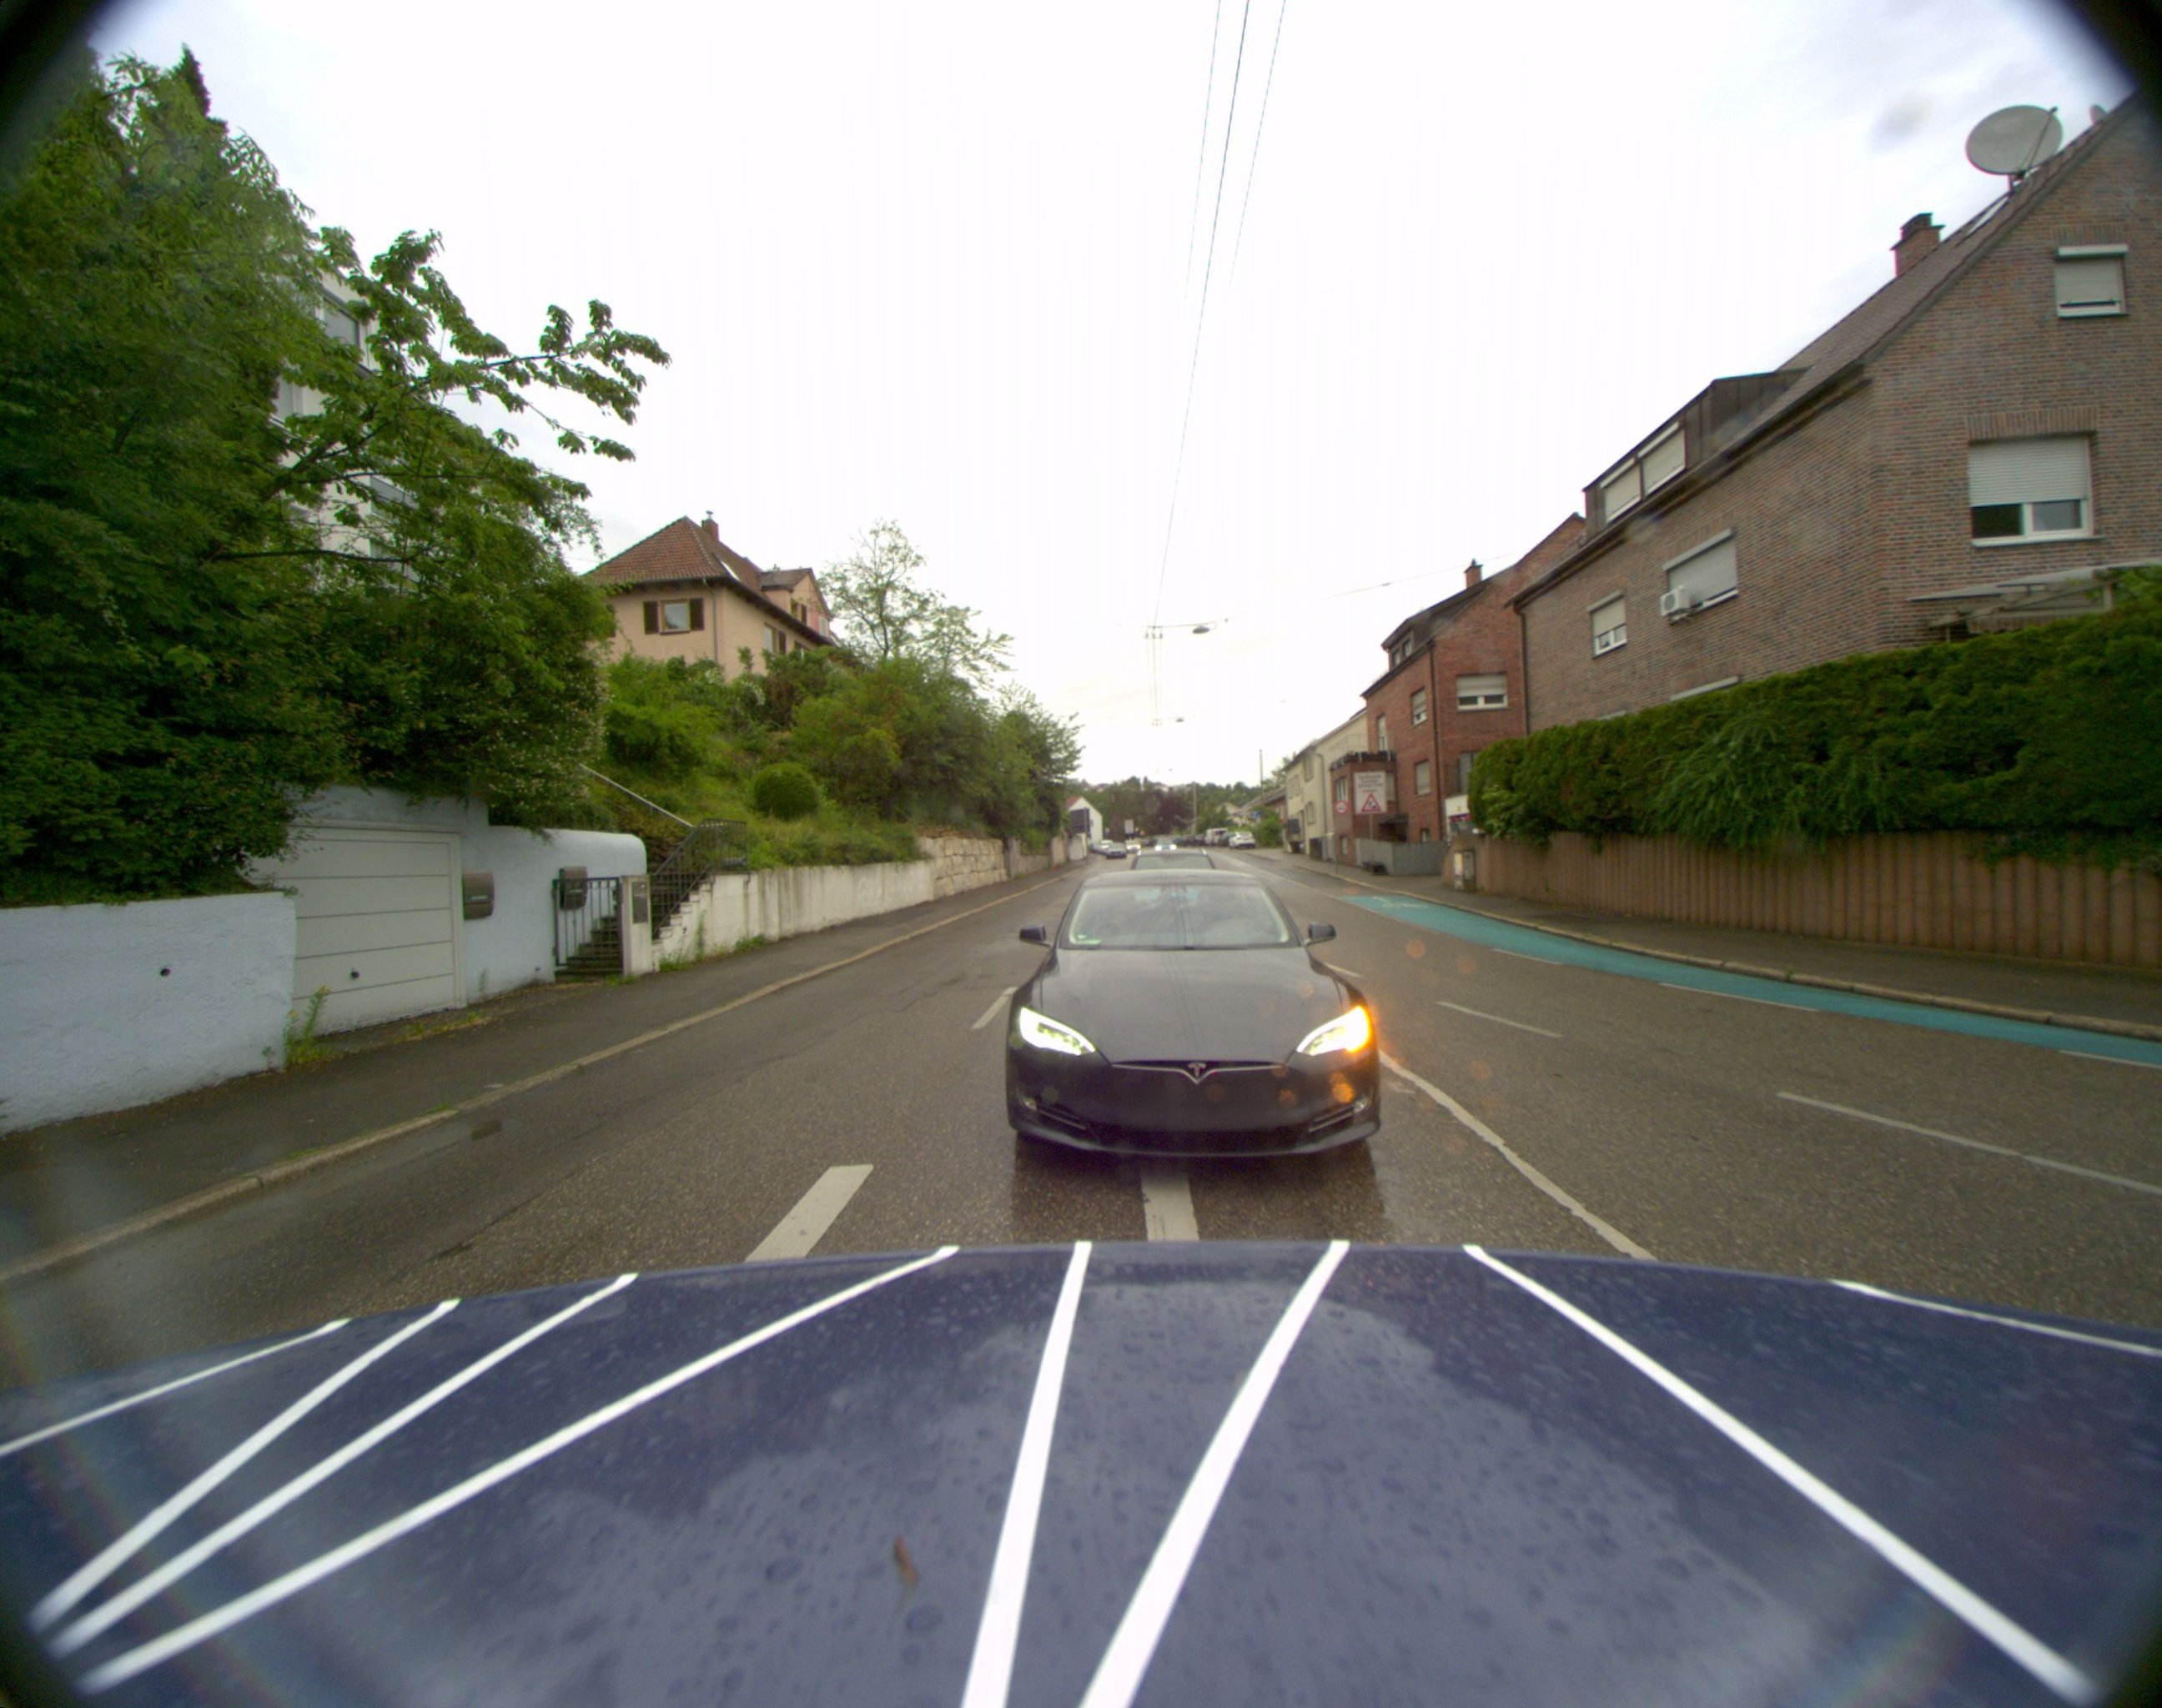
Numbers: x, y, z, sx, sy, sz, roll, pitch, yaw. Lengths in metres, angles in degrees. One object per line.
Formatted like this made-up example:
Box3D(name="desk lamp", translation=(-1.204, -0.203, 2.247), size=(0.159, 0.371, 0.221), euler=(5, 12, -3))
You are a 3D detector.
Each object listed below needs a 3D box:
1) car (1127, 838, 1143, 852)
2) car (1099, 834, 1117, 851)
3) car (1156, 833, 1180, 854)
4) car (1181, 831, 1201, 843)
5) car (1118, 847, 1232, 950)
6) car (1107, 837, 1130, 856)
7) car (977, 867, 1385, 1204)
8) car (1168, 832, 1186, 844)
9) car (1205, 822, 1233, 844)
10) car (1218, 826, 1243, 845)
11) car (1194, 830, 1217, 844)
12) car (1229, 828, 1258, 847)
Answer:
Box3D(name="car", translation=(6.378, -1.073, 89.336), size=(1.737, 1.493, 3.883), euler=(-2, -1, 4))
Box3D(name="car", translation=(3.172, -1.361, 89.145), size=(1.820, 1.855, 4.038), euler=(-2, 2, -1))
Box3D(name="car", translation=(7.605, -0.877, 66.542), size=(1.816, 1.720, 4.002), euler=(-2, -1, 4))
Box3D(name="car", translation=(14.114, -2.134, 97.454), size=(1.654, 1.388, 3.859), euler=(-4, 1, -4))
Box3D(name="car", translation=(1.657, 0.705, 14.148), size=(1.789, 1.580, 3.784), euler=(-2, 1, 4))
Box3D(name="car", translation=(3.645, -0.693, 73.291), size=(2.002, 1.596, 4.360), euler=(-2, -1, 4))
Box3D(name="car", translation=(0.611, 0.907, 5.573), size=(1.870, 1.407, 4.000), euler=(-2, 1, 4))
Box3D(name="car", translation=(12.950, -2.152, 102.589), size=(1.624, 1.482, 3.901), euler=(-4, 1, -4))
Box3D(name="car", translation=(15.603, -2.345, 86.140), size=(2.257, 2.273, 4.546), euler=(-4, 1, 0))
Box3D(name="car", translation=(15.715, -1.916, 80.111), size=(1.814, 1.793, 4.263), euler=(-4, 1, 2))
Box3D(name="car", translation=(14.910, -2.018, 91.499), size=(1.654, 1.482, 4.009), euler=(-4, 1, -6))
Box3D(name="car", translation=(15.347, -1.563, 71.963), size=(1.946, 1.557, 4.263), euler=(-4, 1, 2))
